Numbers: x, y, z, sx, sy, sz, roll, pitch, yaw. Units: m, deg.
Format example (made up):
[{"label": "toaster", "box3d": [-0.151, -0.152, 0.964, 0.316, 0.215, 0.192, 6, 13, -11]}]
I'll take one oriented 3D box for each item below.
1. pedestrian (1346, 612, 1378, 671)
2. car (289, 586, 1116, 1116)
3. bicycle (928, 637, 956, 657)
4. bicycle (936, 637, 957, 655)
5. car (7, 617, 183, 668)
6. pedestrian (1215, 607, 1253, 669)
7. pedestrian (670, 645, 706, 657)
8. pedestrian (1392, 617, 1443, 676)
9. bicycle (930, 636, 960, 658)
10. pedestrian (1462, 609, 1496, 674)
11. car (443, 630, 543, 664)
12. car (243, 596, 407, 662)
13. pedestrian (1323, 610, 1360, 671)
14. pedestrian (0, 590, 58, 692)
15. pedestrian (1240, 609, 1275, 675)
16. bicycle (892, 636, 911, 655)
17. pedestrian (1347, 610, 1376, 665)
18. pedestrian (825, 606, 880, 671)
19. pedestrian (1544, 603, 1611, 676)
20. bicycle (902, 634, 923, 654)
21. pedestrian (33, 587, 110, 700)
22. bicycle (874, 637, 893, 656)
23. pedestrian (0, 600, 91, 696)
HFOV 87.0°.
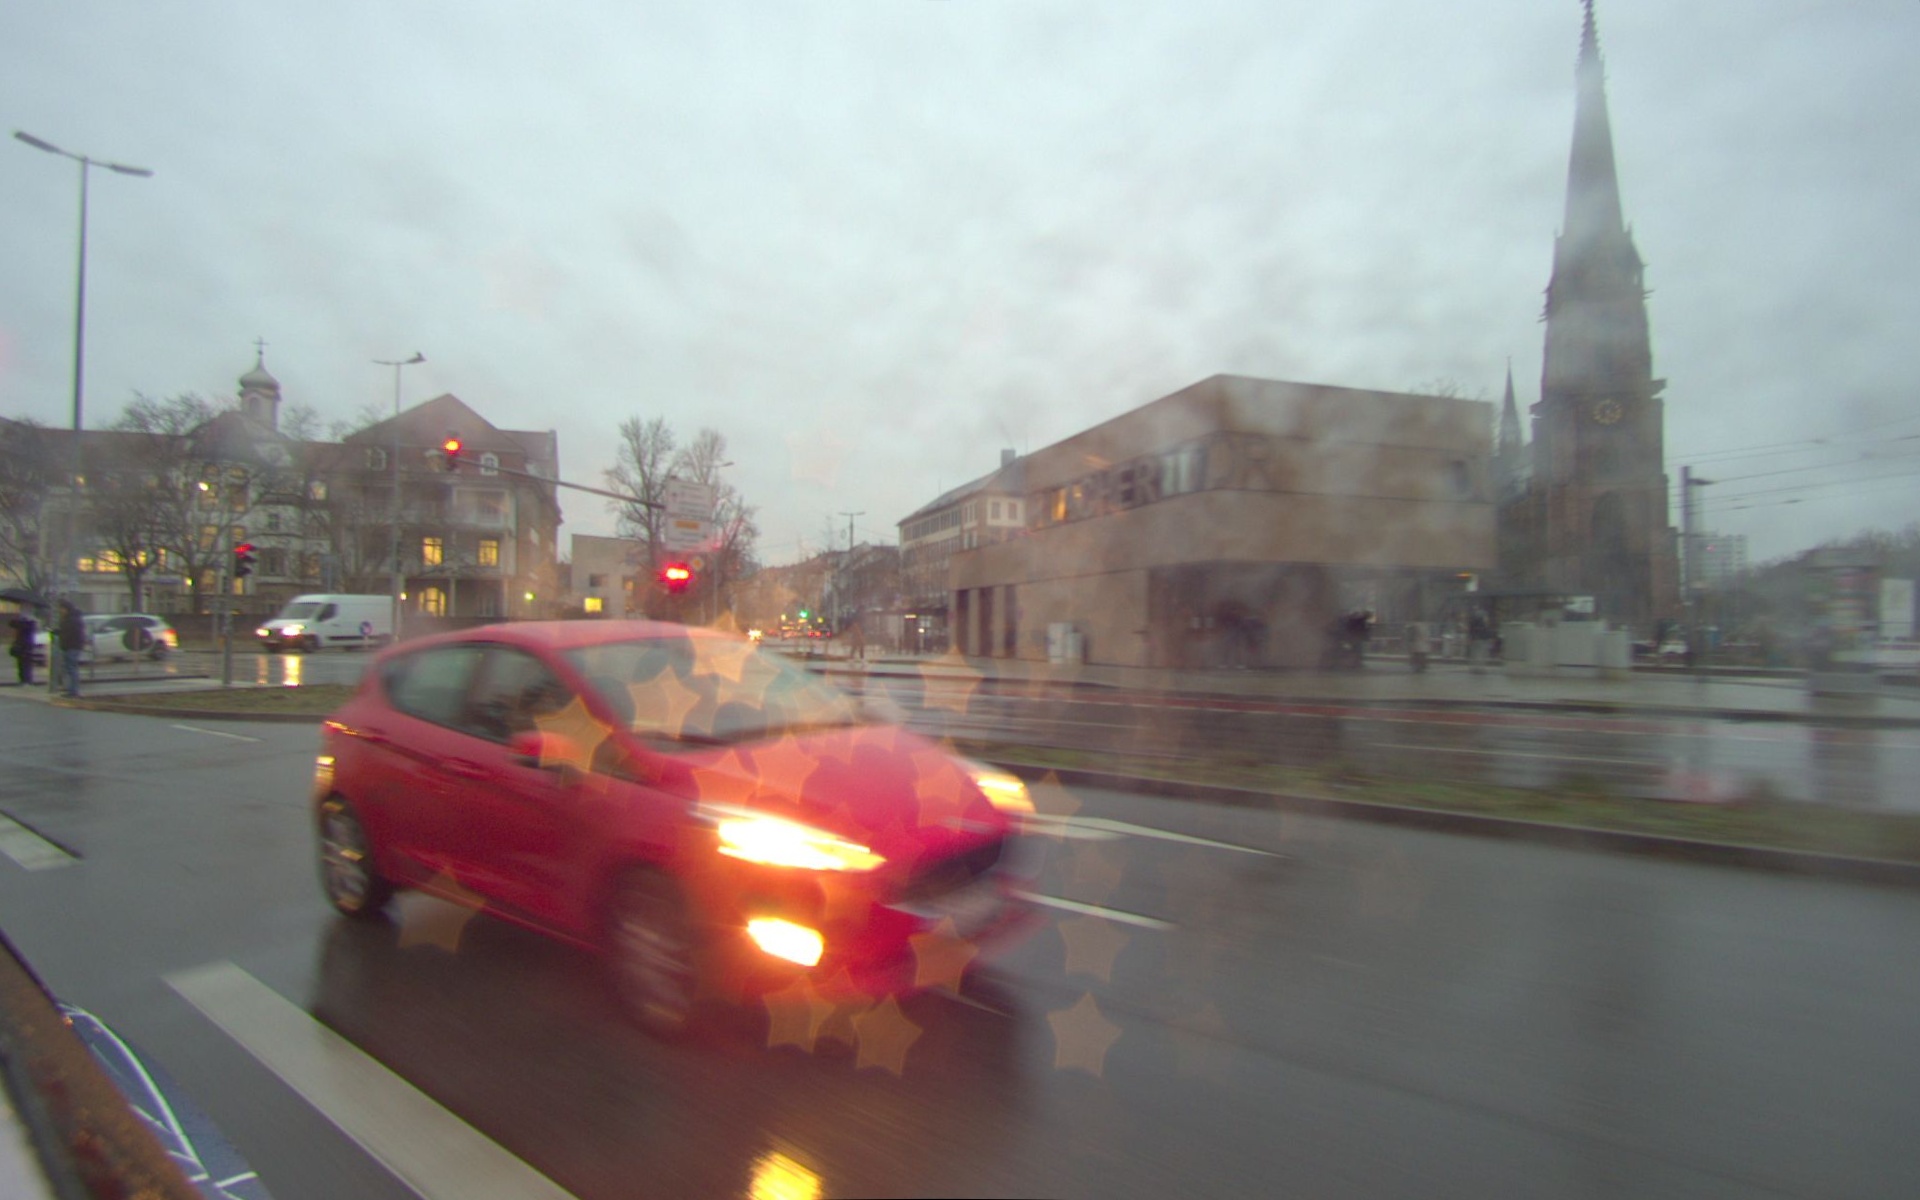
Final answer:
[{"label": "pedestrian", "box3d": [12.180, 1.262, 30.688, 0.742, 1.739, 0.734, -2, -3, 35]}, {"label": "car", "box3d": [-1.403, 0.744, 4.728, 3.865, 1.493, 1.685, -1, 0, 37]}, {"label": "bicycle", "box3d": [-1.091, 2.809, 60.310, 0.636, 1.113, 2.760, -1, -2, -24]}, {"label": "bicycle", "box3d": [-0.863, 2.923, 64.003, 0.636, 1.113, 2.758, -1, -3, -15]}, {"label": "car", "box3d": [-28.375, 1.420, 33.399, 1.737, 1.515, 4.301, -3, -3, 11]}, {"label": "pedestrian", "box3d": [7.812, 1.082, 28.883, 0.731, 1.739, 0.745, 3, -3, -40]}, {"label": "pedestrian", "box3d": [-24.288, 4.524, 90.416, 3.048, 0.937, 0.951, -1, -3, -13]}, {"label": "pedestrian", "box3d": [12.937, 1.315, 28.624, 0.841, 1.615, 0.968, 1, -3, -19]}, {"label": "bicycle", "box3d": [-0.810, 2.445, 52.992, 0.597, 1.113, 2.759, -1, -2, -22]}, {"label": "pedestrian", "box3d": [14.480, 1.155, 28.256, 0.758, 1.764, 0.794, -1, -3, 24]}, {"label": "car", "box3d": [-23.987, 2.386, 52.167, 1.825, 1.656, 4.784, 0, -2, 20]}, {"label": "car", "box3d": [-26.672, 1.261, 42.798, 2.327, 2.537, 5.836, -3, -3, 16]}, {"label": "pedestrian", "box3d": [11.230, 1.193, 29.828, 0.731, 1.739, 0.745, 3, -3, -40]}, {"label": "pedestrian", "box3d": [-19.834, 0.876, 21.054, 1.023, 2.065, 1.211, -3, -3, 9]}, {"label": "pedestrian", "box3d": [8.088, 1.140, 27.542, 0.828, 1.781, 0.656, -1, -3, 25]}, {"label": "bicycle", "box3d": [-3.740, 2.932, 64.690, 0.636, 1.113, 2.758, -1, -3, -15]}, {"label": "pedestrian", "box3d": [13.046, 1.215, 32.886, 0.742, 1.739, 0.734, -1, -3, 33]}, {"label": "pedestrian", "box3d": [-3.197, 1.151, 30.107, 1.232, 1.872, 1.023, -4, -4, 36]}, {"label": "pedestrian", "box3d": [16.755, 1.070, 27.480, 1.104, 1.933, 1.065, 1, -3, -16]}, {"label": "bicycle", "box3d": [-2.719, 2.521, 57.662, 0.636, 1.113, 2.758, -1, -3, -15]}, {"label": "pedestrian", "box3d": [-16.416, 0.818, 18.703, 1.107, 2.021, 0.838, -4, -4, 36]}, {"label": "bicycle", "box3d": [-4.895, 2.961, 64.474, 0.636, 1.113, 2.758, -1, -3, -15]}, {"label": "pedestrian", "box3d": [-18.599, 0.981, 20.523, 1.057, 1.872, 1.034, -2, -3, 4]}]
